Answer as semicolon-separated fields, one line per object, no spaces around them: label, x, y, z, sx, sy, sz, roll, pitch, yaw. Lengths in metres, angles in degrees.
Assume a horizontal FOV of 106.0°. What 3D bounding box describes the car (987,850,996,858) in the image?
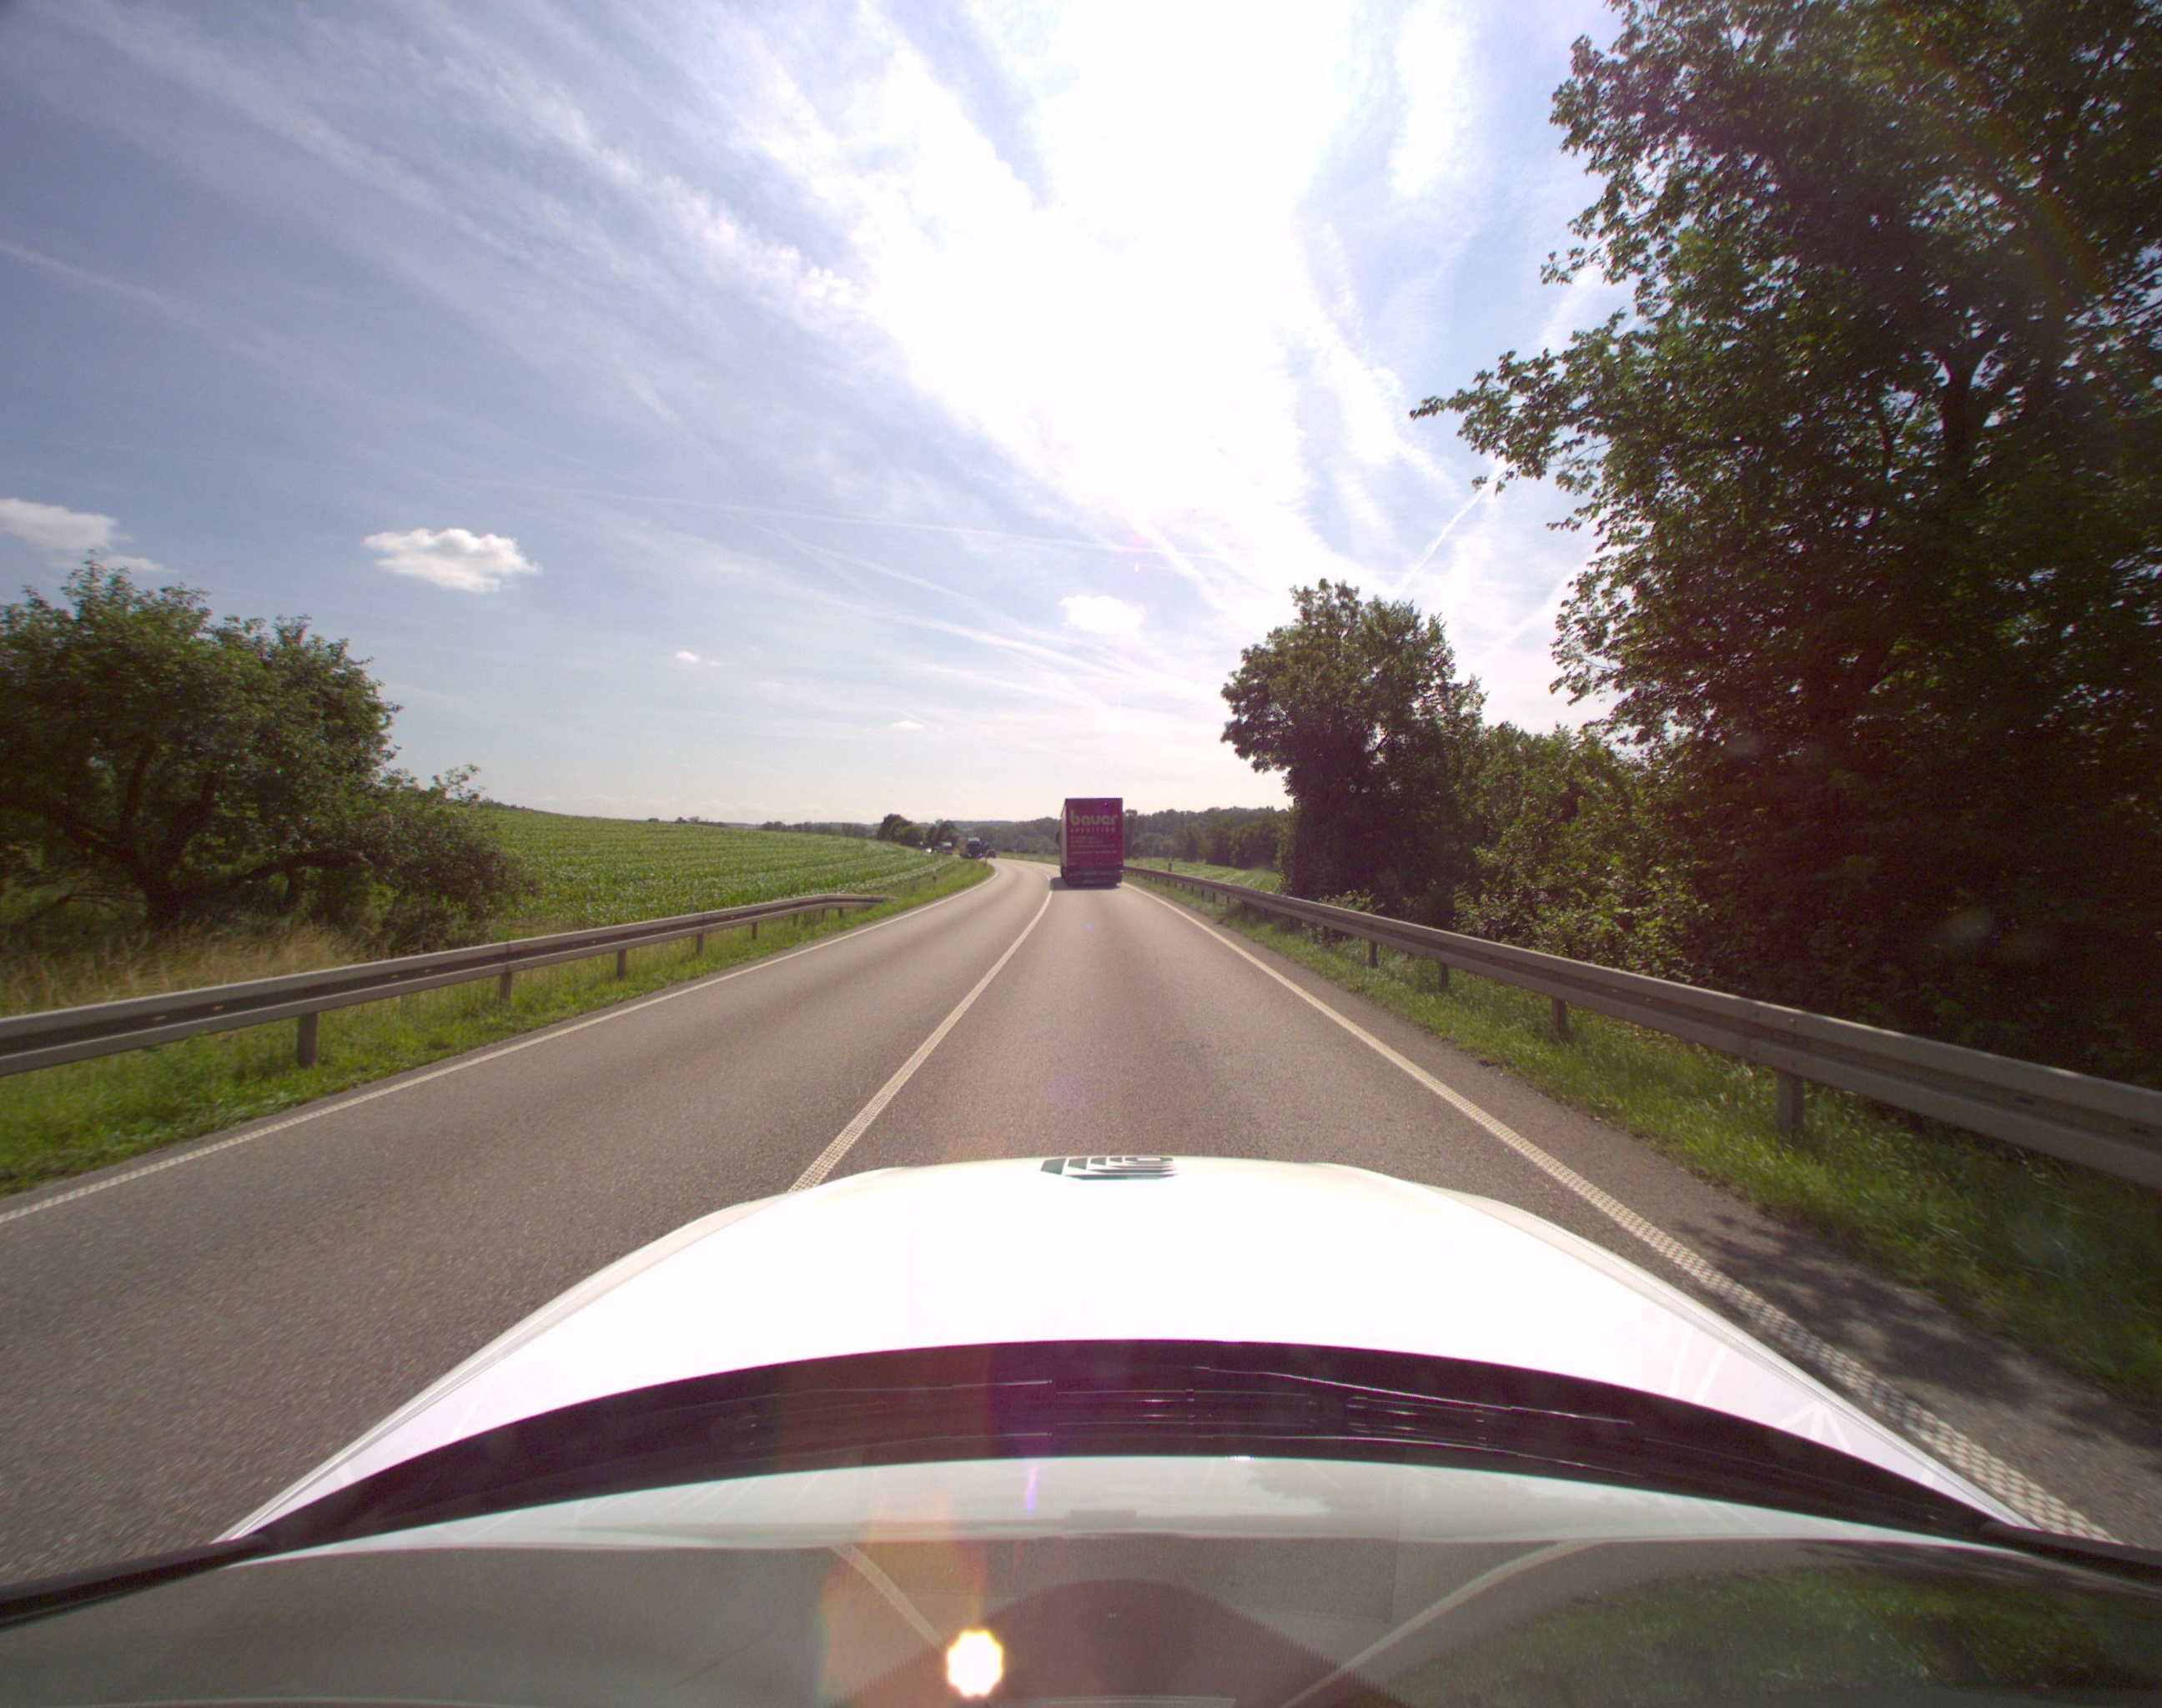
car;-17.813;0.053;161.824;1.582;1.501;3.861;0;0;-12

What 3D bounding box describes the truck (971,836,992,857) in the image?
truck;-22.272;-1.644;181.547;3.642;4.292;11.938;-1;0;-11

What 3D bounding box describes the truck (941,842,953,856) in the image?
truck;-34.785;-1.284;211.762;2.742;3.578;9.690;-1;0;-11

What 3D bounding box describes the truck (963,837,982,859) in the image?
truck;-21.676;-1.161;161.456;2.772;3.998;16.964;-1;0;-11

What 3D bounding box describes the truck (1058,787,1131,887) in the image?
truck;0.657;-0.736;39.441;3.084;4.262;8.315;-1;0;1
